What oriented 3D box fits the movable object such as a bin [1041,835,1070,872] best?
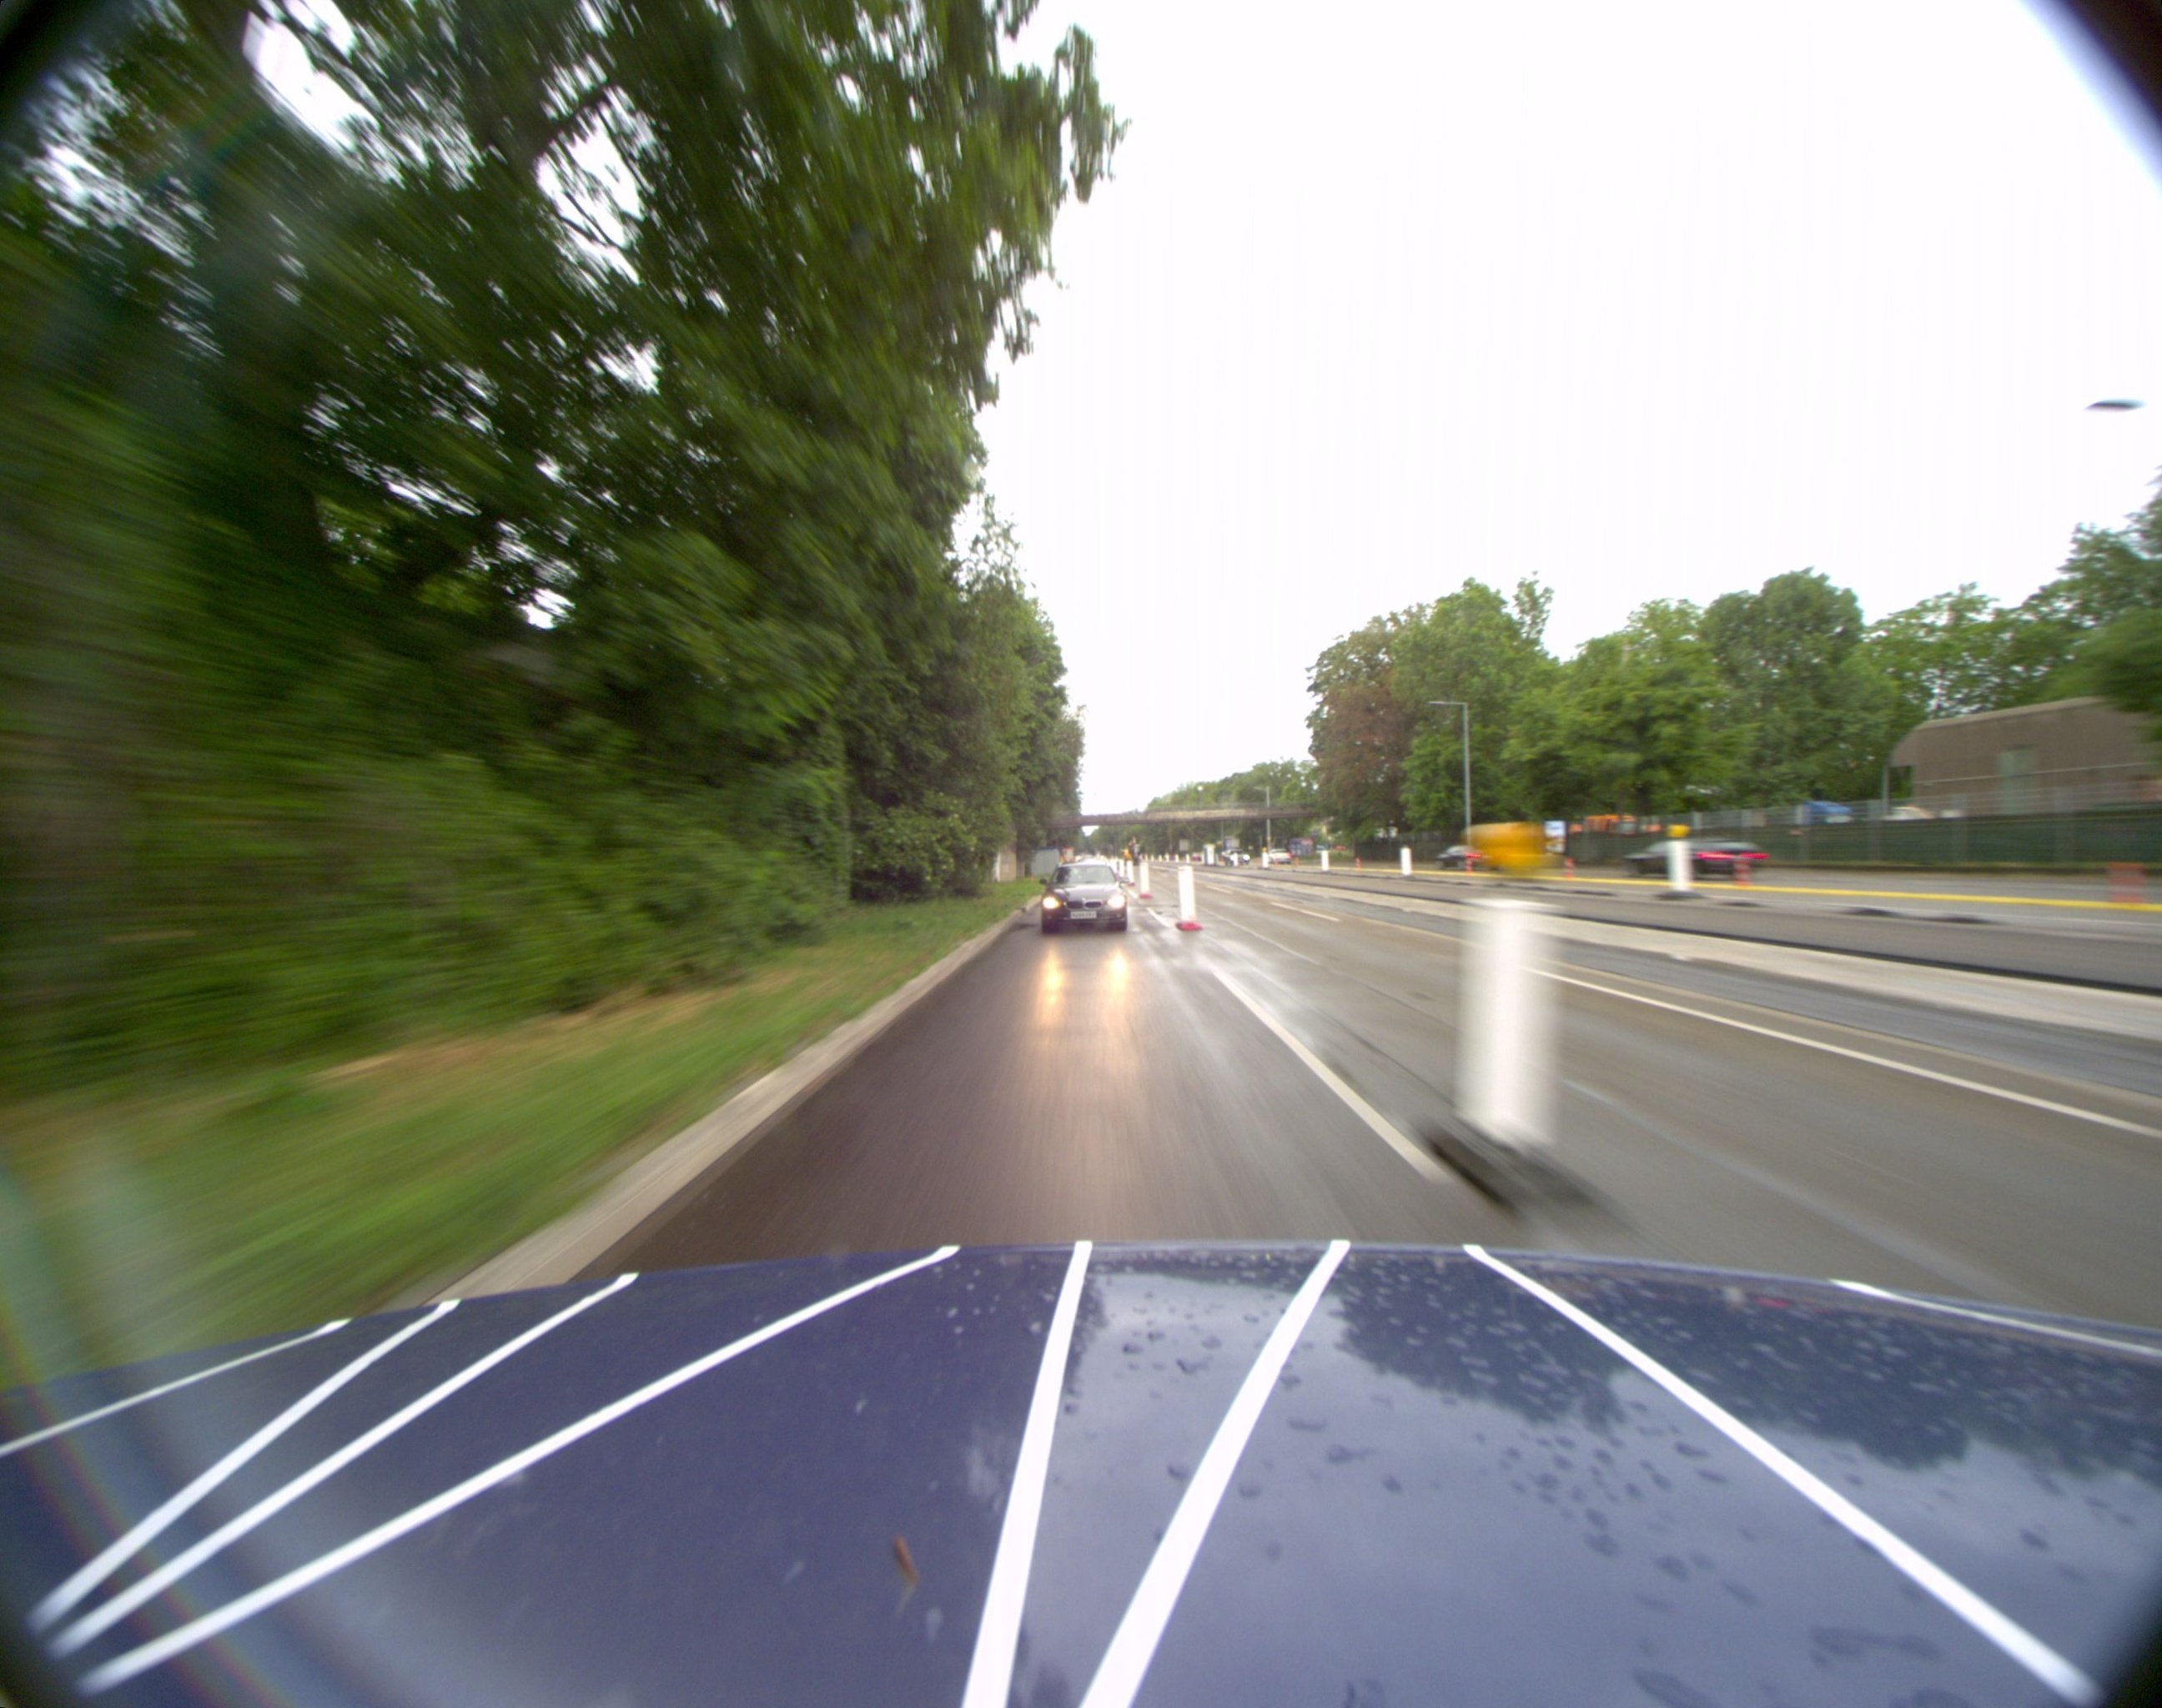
[{"bbox_3d":[-2.840,-0.053,85.636,2.889,3.917,6.105,-3,1,0],"label":"movable object such as a bin"}]

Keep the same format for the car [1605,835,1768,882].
[{"bbox_3d":[21.296,0.140,27.051,2.051,1.446,4.764,-3,0,1],"label":"car"}]

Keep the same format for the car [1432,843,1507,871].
[{"bbox_3d":[21.686,0.149,42.593,1.998,1.421,4.265,-2,0,0],"label":"car"}]

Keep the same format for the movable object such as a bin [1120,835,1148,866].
[{"bbox_3d":[8.080,-0.557,117.476,3.526,4.495,10.069,-3,0,1],"label":"movable object such as a bin"}]

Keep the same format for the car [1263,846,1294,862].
[{"bbox_3d":[19.584,0.030,75.530,1.998,1.504,4.266,-2,0,1],"label":"car"}]

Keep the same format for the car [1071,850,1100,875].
[{"bbox_3d":[0.356,0.593,55.532,1.998,1.650,4.229,-3,0,1],"label":"car"}]

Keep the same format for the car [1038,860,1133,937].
[{"bbox_3d":[0.076,0.893,17.083,1.838,1.397,3.999,-3,0,-1],"label":"car"}]
